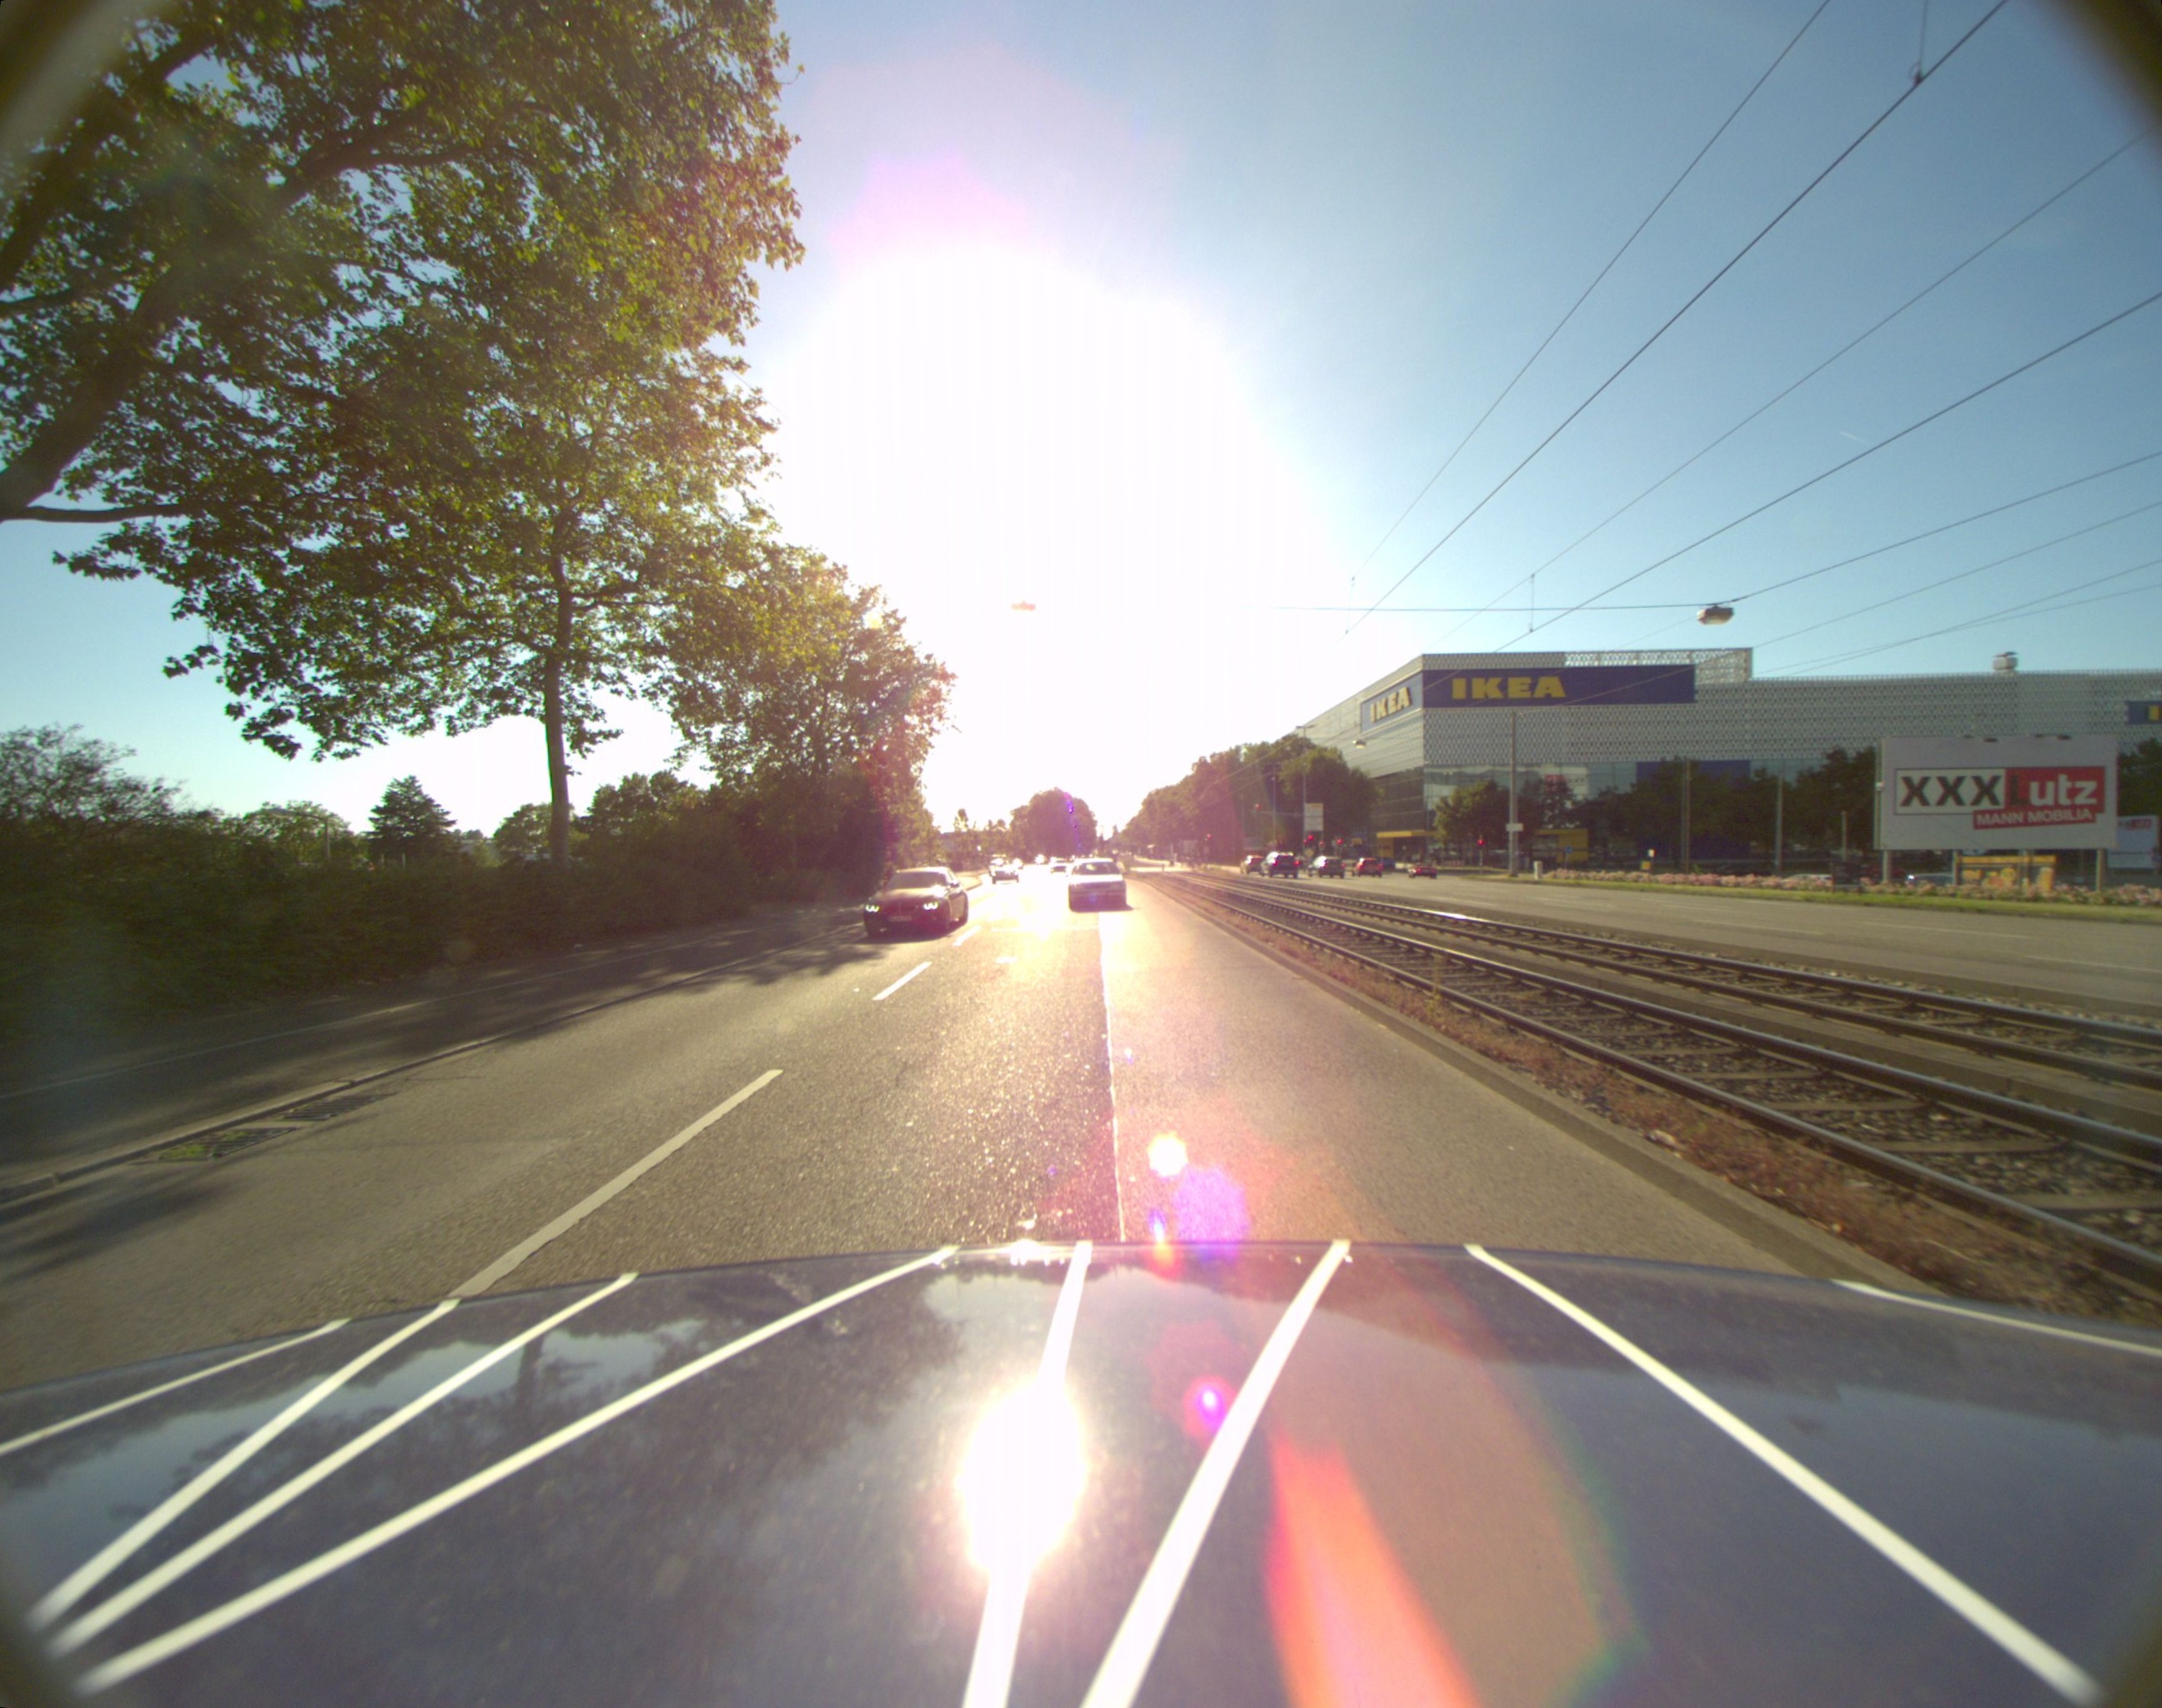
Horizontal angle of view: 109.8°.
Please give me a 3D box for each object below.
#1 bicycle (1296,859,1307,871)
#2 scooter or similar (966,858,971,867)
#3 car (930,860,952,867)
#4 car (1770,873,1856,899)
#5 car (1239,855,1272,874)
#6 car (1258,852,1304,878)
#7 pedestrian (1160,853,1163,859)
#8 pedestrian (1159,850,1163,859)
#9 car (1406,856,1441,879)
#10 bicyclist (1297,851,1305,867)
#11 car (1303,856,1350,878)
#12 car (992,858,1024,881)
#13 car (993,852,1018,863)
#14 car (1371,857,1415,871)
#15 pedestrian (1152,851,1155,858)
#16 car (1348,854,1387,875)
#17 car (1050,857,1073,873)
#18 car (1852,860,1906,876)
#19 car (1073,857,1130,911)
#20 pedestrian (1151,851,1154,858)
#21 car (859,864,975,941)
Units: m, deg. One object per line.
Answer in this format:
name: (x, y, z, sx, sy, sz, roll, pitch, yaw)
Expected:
bicycle: (21.517, 1.053, 74.180, 0.589, 1.161, 1.992, -2, 0, 2)
scooter or similar: (-14.894, 1.140, 100.650, 0.525, 1.223, 1.265, -1, 1, -12)
car: (-33.218, 2.234, 180.178, 4.661, 1.560, 1.859, -3, 0, -1)
car: (55.101, 2.376, 57.332, 1.999, 1.700, 4.416, -3, 0, -3)
car: (13.984, 0.821, 61.125, 1.787, 1.439, 4.108, 0, 0, 2)
car: (13.577, 0.702, 51.838, 1.998, 1.646, 4.659, 0, 0, 2)
pedestrian: (16.301, 0.349, 153.707, 0.603, 1.217, 0.617, -3, 1, 5)
pedestrian: (16.380, 0.107, 155.653, 0.733, 1.682, 0.687, -3, 0, 1)
car: (25.781, 0.985, 57.360, 1.823, 1.633, 4.005, 1, 0, 16)
bicyclist: (21.496, 0.471, 74.194, 0.589, 1.514, 0.751, -2, 0, 2)
car: (16.972, 0.854, 52.630, 1.861, 1.452, 4.137, -1, 0, -1)
car: (-4.774, 0.974, 50.040, 1.857, 1.415, 3.979, -2, 0, -3)
car: (-17.017, 0.780, 172.081, 5.350, 2.010, 2.104, -3, 0, -1)
car: (35.978, 1.142, 87.753, 4.252, 1.489, 2.016, 2, 1, 6)
pedestrian: (15.645, 0.096, 164.046, 0.661, 1.623, 0.777, -3, 1, 3)
car: (21.889, 0.795, 58.177, 1.938, 1.468, 4.134, 1, 1, 9)
car: (-1.876, 1.033, 73.399, 1.871, 1.422, 3.831, -3, 0, 3)
car: (81.403, 1.403, 77.517, 3.583, 1.451, 1.771, 1, 1, 0)
car: (0.630, 0.874, 23.555, 1.602, 1.440, 3.799, -1, 1, 1)
pedestrian: (15.810, 0.136, 167.890, 0.763, 1.700, 0.678, 0, 1, 3)
car: (-3.787, 1.051, 18.372, 1.871, 1.459, 4.585, -2, 1, -1)
